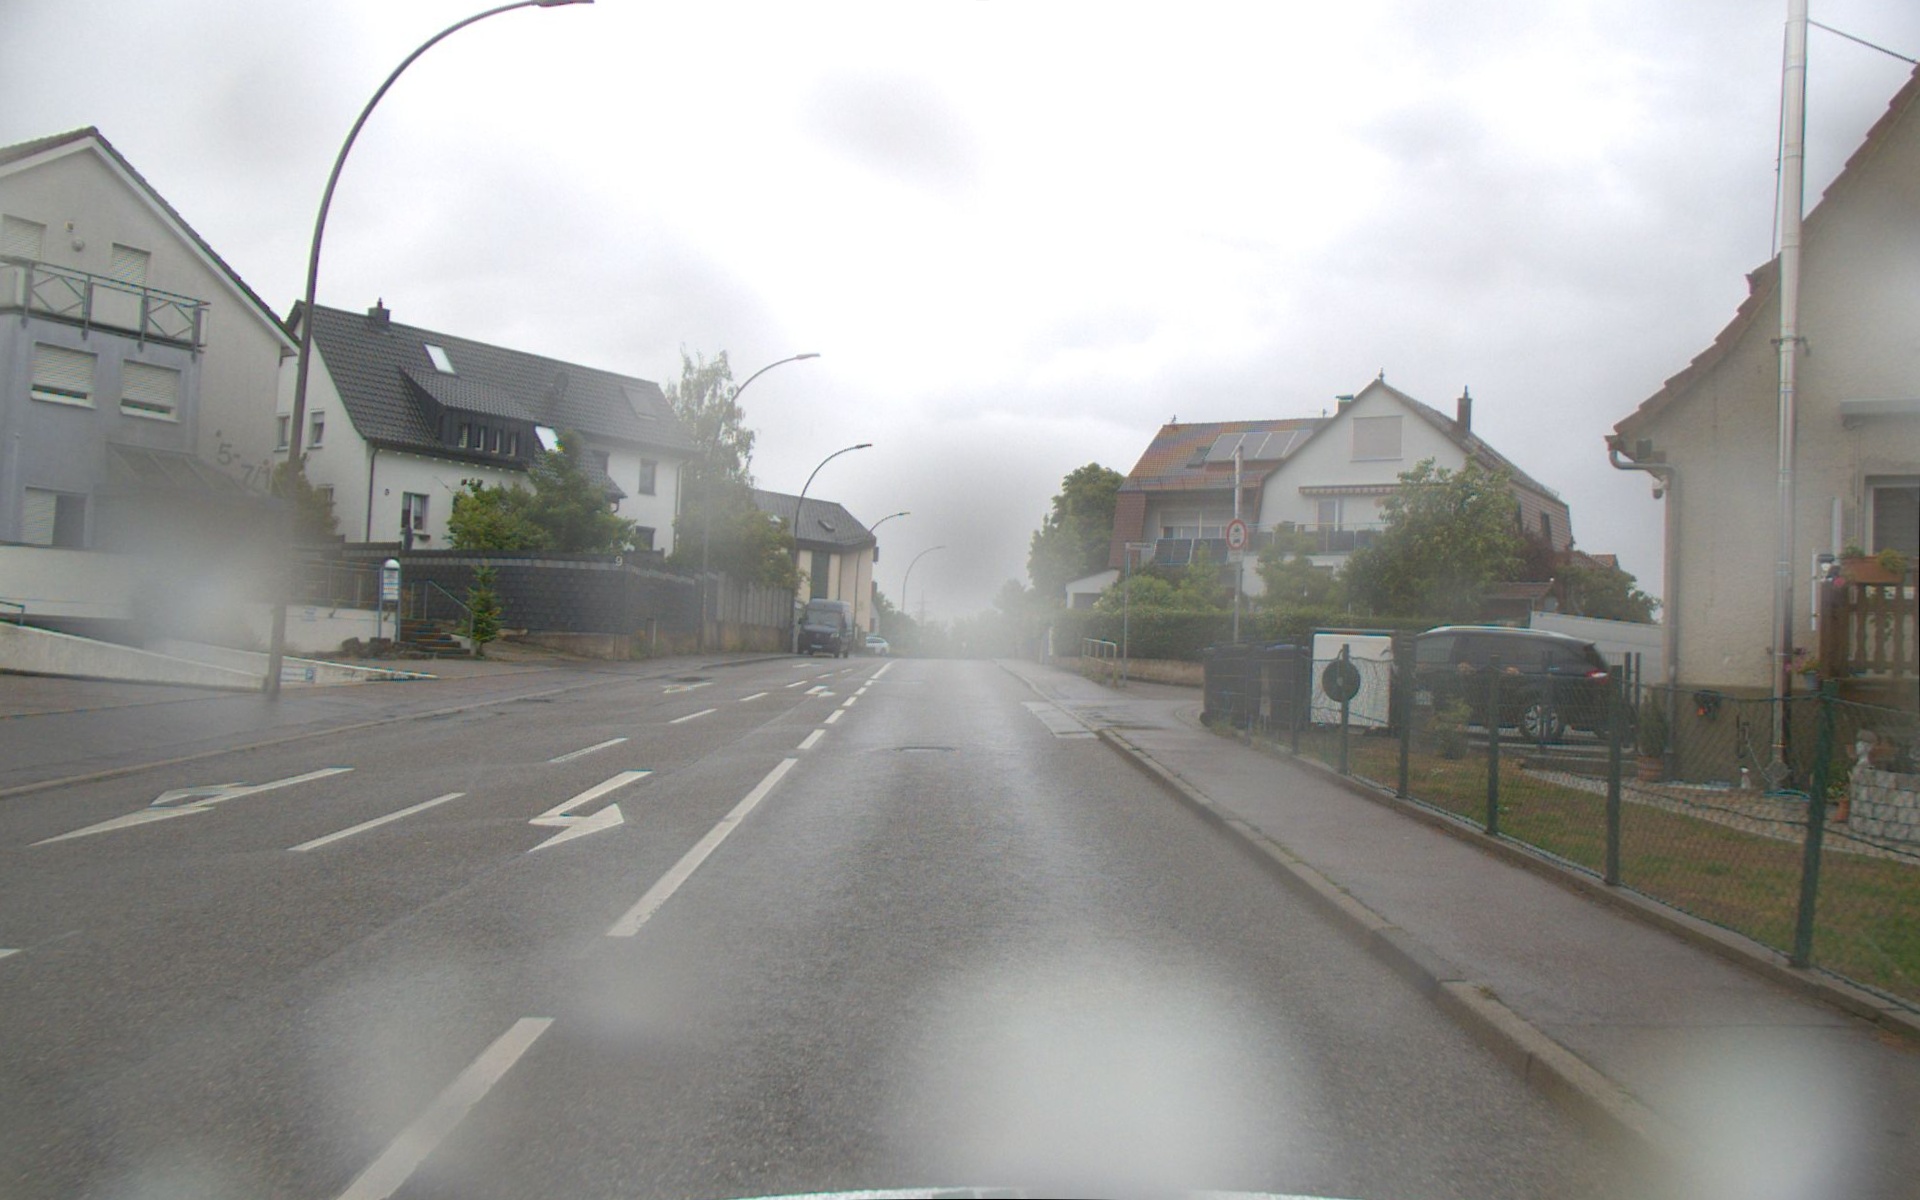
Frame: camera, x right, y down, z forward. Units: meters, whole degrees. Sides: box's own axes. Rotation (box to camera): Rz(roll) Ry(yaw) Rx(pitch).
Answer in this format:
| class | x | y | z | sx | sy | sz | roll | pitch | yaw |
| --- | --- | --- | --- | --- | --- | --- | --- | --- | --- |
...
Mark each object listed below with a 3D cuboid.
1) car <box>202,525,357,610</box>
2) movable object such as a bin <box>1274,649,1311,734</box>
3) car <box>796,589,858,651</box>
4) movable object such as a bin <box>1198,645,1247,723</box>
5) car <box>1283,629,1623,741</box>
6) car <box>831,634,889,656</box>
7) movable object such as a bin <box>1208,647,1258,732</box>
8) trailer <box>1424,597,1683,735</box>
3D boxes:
| class | x | y | z | sx | sy | sz | roll | pitch | yaw |
| --- | --- | --- | --- | --- | --- | --- | --- | --- | --- |
| car | -19.001 | -0.911 | 46.137 | 3.920 | 1.811 | 1.994 | 8 | 1 | 33 |
| movable object such as a bin | 4.174 | 1.138 | 20.737 | 0.433 | 1.039 | 0.525 | 0 | -1 | 13 |
| car | -6.235 | 1.006 | 78.280 | 2.051 | 2.695 | 5.919 | 3 | -2 | 2 |
| movable object such as a bin | 3.563 | 1.133 | 22.500 | 0.614 | 1.039 | 0.541 | 0 | -1 | 4 |
| car | 6.991 | 1.160 | 23.664 | 4.461 | 1.408 | 2.001 | 0 | 1 | 17 |
| car | -7.843 | 3.536 | 130.289 | 1.869 | 1.503 | 4.862 | 2 | -2 | 36 |
| movable object such as a bin | 3.485 | 1.134 | 21.062 | 0.518 | 1.039 | 0.733 | 0 | -1 | 18 |
| trailer | 9.242 | 1.002 | 25.827 | 3.395 | 1.830 | 1.681 | 4 | -1 | 37 |
